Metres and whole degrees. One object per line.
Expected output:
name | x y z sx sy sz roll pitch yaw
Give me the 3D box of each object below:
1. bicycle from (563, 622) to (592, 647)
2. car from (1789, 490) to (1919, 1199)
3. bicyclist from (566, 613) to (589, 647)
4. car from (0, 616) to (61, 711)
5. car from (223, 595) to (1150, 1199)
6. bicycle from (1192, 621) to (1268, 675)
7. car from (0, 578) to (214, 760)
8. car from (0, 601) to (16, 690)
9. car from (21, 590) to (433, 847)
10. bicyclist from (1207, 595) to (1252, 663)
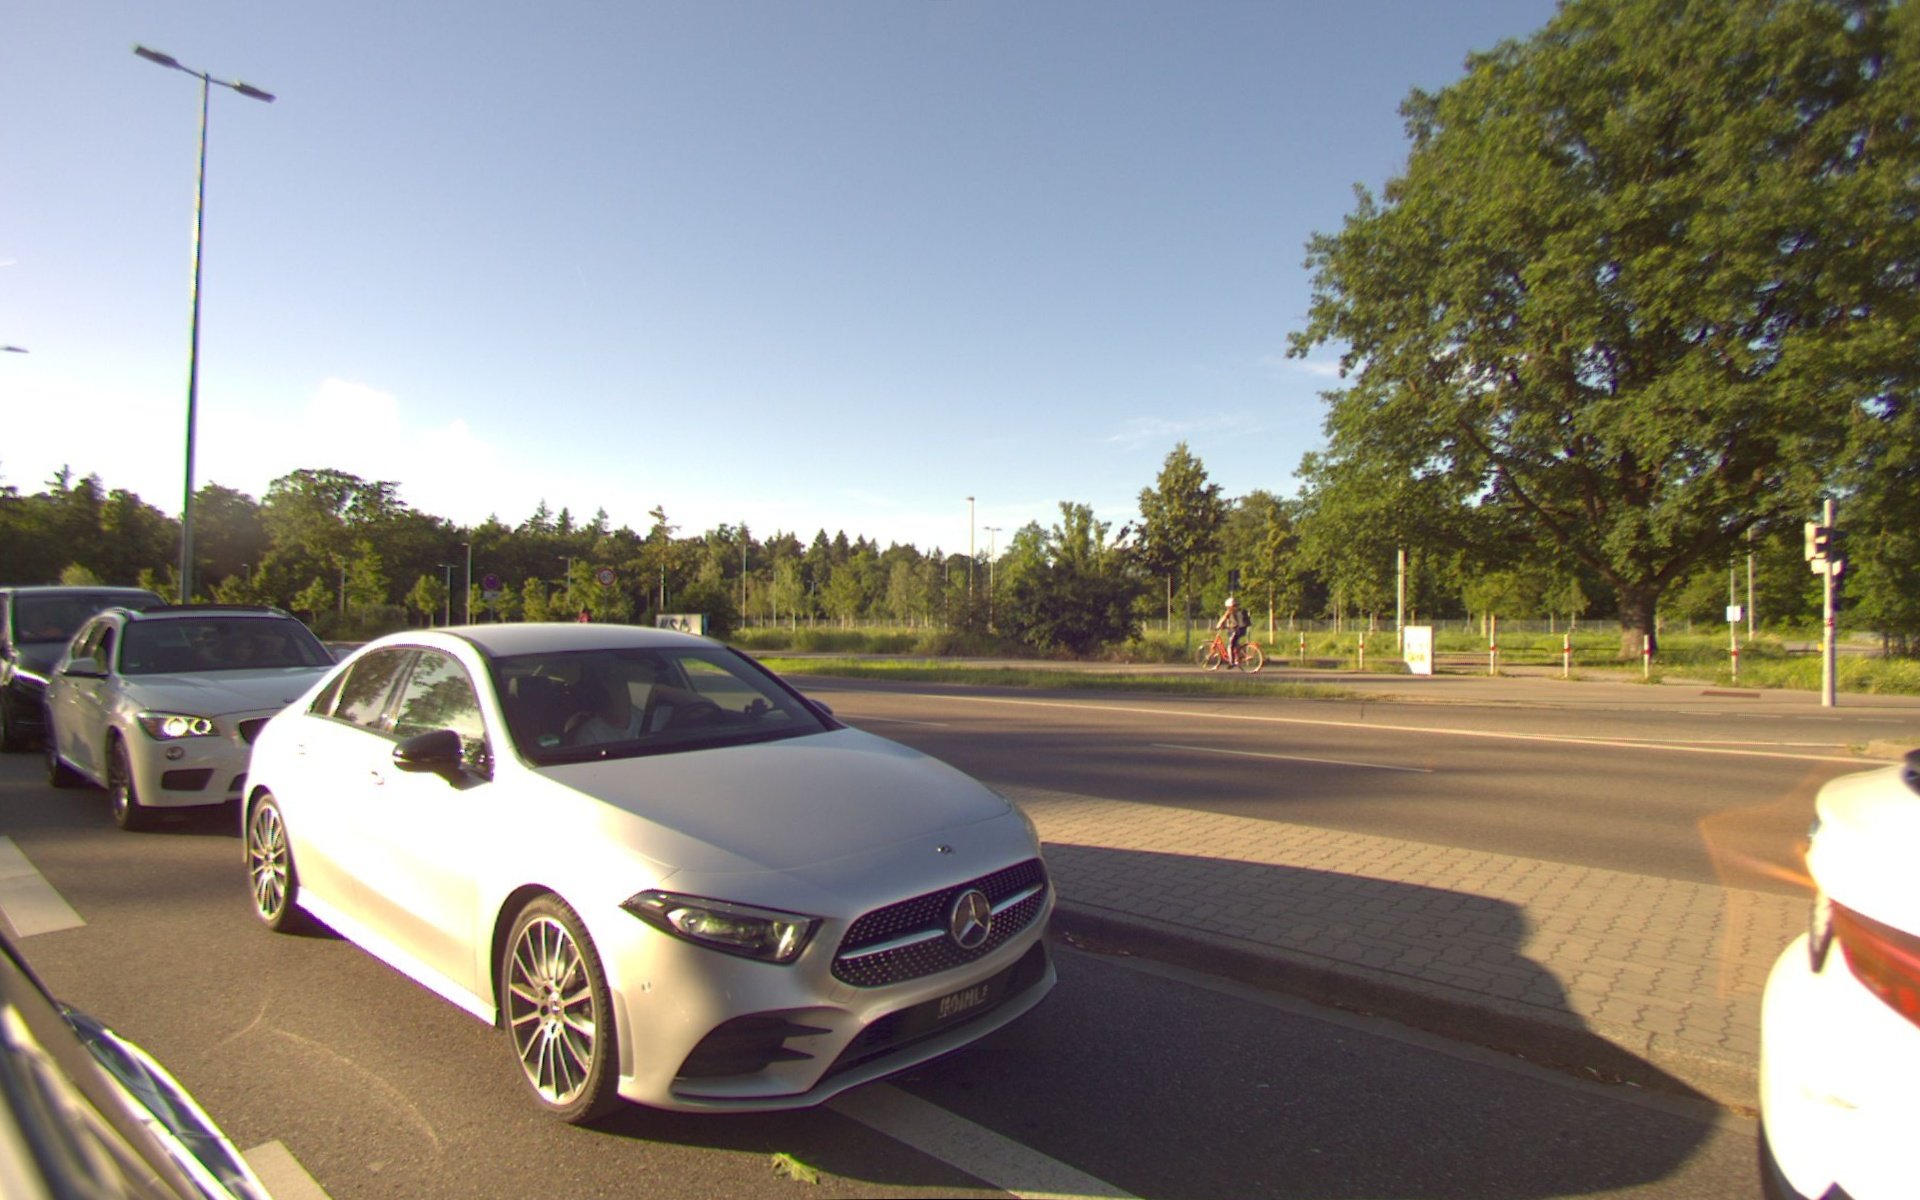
bicycle | -16.164 1.462 42.801 1.361 1.027 0.576 -1 0 42
car | 3.133 0.614 0.389 4.298 1.524 1.815 -1 -1 41
bicyclist | -16.138 1.255 42.681 0.800 1.424 0.585 -1 0 43
car | -17.663 1.102 18.154 4.100 1.581 1.714 -1 -1 40
car | -1.515 0.748 4.242 4.316 1.438 1.640 -1 -1 41
bicycle | 6.541 1.147 24.575 0.487 1.247 1.797 0 0 -42
car | -11.362 0.760 12.866 5.230 1.887 1.861 -1 -1 40
car | -23.010 1.021 22.872 5.064 1.907 1.844 -1 -1 40
car | -6.203 0.776 8.365 4.317 1.595 1.774 -1 -1 40
bicyclist | 6.554 0.701 24.613 0.672 1.623 0.801 0 0 -42
